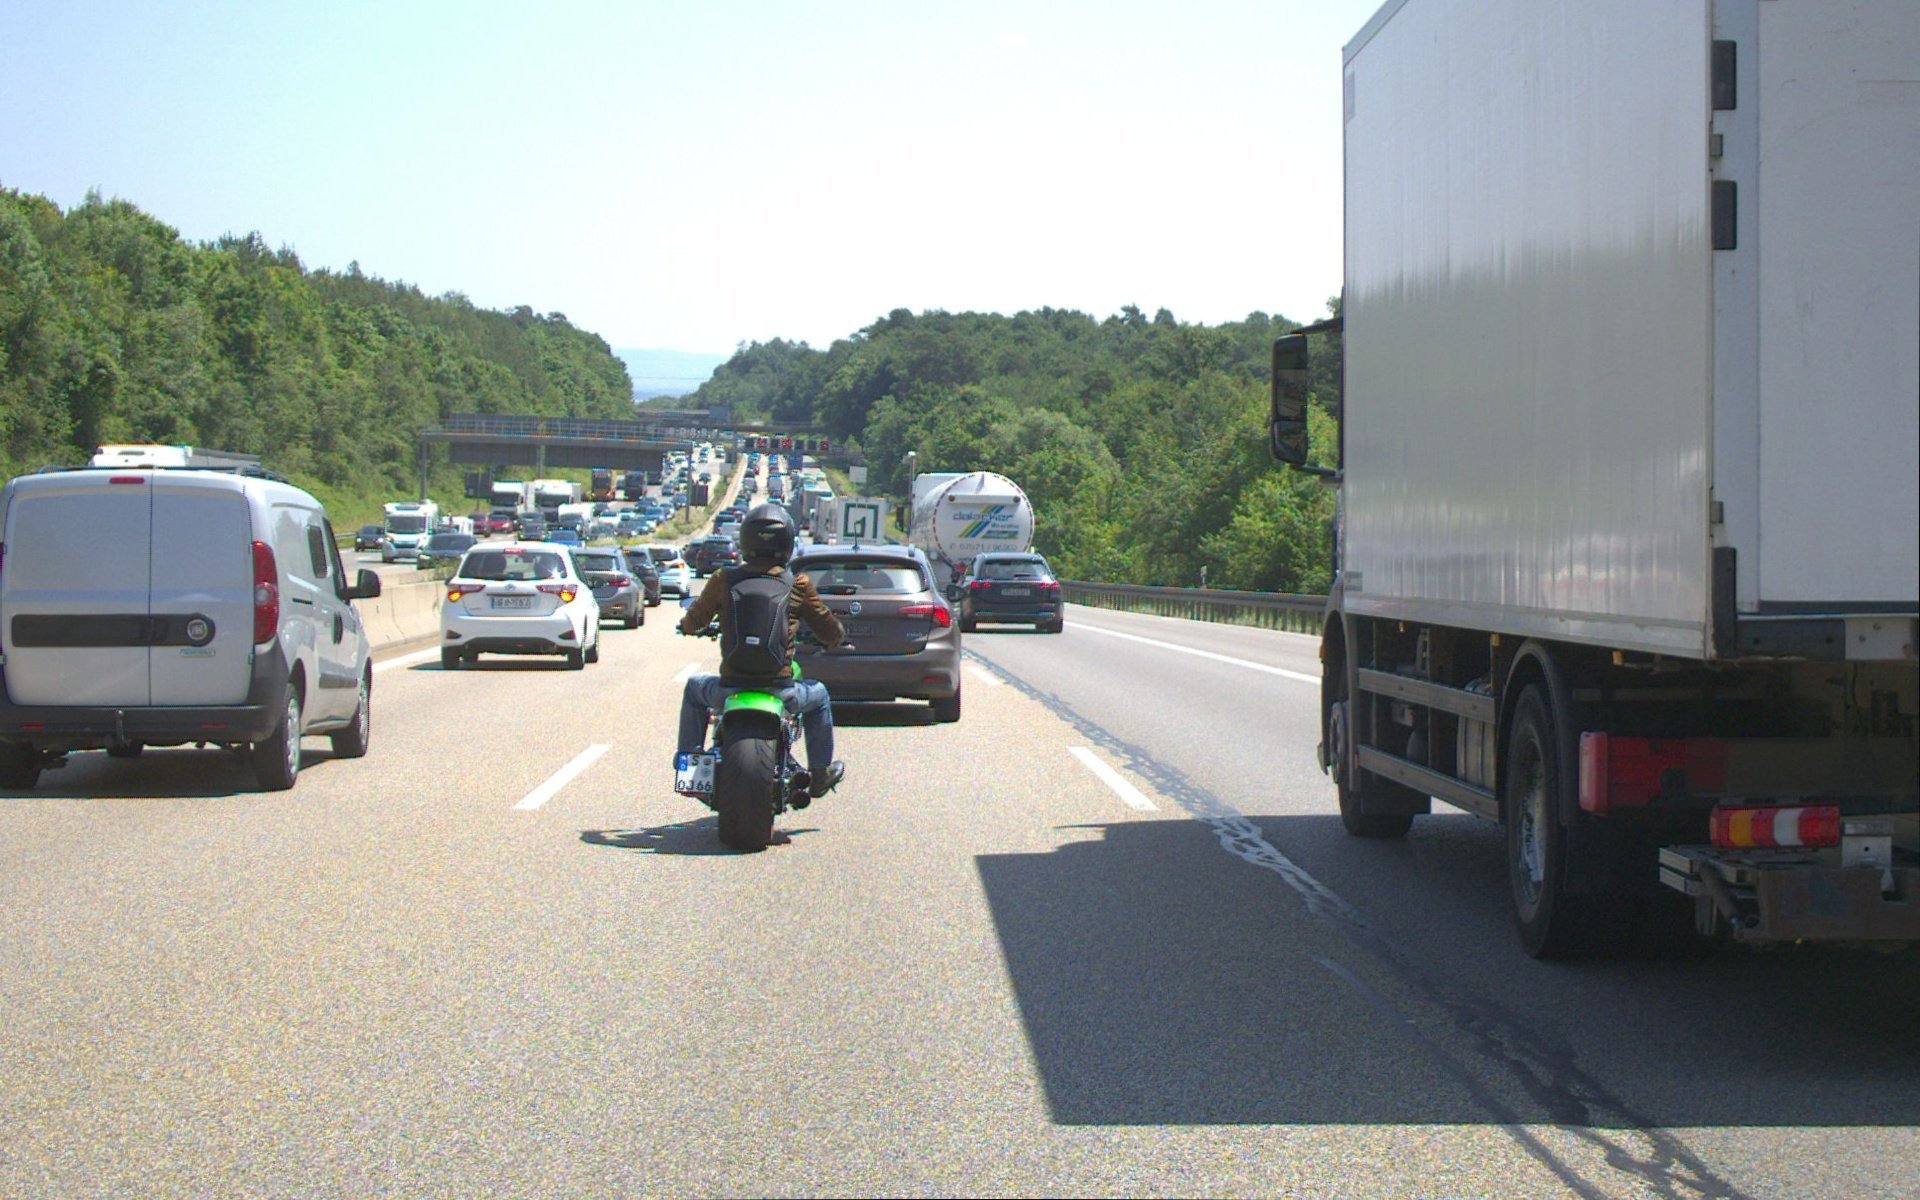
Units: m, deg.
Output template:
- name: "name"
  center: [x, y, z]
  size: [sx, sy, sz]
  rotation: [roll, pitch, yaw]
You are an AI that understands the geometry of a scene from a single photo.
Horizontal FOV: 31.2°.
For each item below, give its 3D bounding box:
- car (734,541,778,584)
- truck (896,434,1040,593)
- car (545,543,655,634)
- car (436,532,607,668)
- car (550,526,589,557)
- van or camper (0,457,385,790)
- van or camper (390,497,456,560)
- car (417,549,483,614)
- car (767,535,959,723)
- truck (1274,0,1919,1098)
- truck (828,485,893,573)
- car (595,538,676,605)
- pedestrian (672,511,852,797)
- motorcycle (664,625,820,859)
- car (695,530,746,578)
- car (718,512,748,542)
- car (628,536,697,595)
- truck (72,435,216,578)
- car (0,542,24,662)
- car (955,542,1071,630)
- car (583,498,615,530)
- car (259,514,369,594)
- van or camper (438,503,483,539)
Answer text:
- name: "car"
  center: [-7.071, -1.303, 119.341]
  size: [1.393, 1.458, 2.779]
  rotation: [0, 1, -1]
- name: "truck"
  center: [0.095, -2.046, 84.100]
  size: [2.987, 3.659, 9.289]
  rotation: [0, 0, -3]
- name: "car"
  center: [-6.410, -0.236, 61.541]
  size: [1.699, 1.473, 4.001]
  rotation: [2, 1, -3]
- name: "car"
  center: [-5.248, -0.038, 41.535]
  size: [1.699, 1.473, 4.001]
  rotation: [2, 1, -3]
- name: "car"
  center: [-19.622, -2.929, 172.859]
  size: [1.710, 1.532, 4.129]
  rotation: [1, 1, -3]
- name: "van or camper"
  center: [-4.784, 0.115, 21.638]
  size: [1.796, 1.886, 4.160]
  rotation: [0, 0, -2]
- name: "van or camper"
  center: [-24.068, -3.174, 154.379]
  size: [2.269, 2.726, 6.807]
  rotation: [0, 0, -3]
- name: "car"
  center: [-16.199, -0.604, 109.304]
  size: [1.763, 2.007, 4.001]
  rotation: [0, 1, -4]
- name: "car"
  center: [-0.821, 0.195, 29.654]
  size: [1.532, 1.504, 4.000]
  rotation: [0, 1, -1]
- name: "truck"
  center: [3.164, -0.680, 14.168]
  size: [2.688, 3.863, 9.781]
  rotation: [0, 1, -1]
- name: "truck"
  center: [-5.515, -3.919, 189.017]
  size: [3.033, 4.526, 9.984]
  rotation: [3, 1, -3]
- name: "car"
  center: [-7.778, -0.705, 82.632]
  size: [1.699, 1.473, 4.001]
  rotation: [2, 1, -3]
- name: "pedestrian"
  center: [-0.959, 0.249, 16.851]
  size: [0.849, 1.357, 0.962]
  rotation: [0, 1, -2]
- name: "motorcycle"
  center: [-1.049, 0.662, 16.892]
  size: [0.691, 1.012, 2.122]
  rotation: [0, 1, -2]
- name: "car"
  center: [-9.795, -1.898, 140.811]
  size: [1.880, 1.853, 4.001]
  rotation: [3, 1, -3]
- name: "car"
  center: [-15.439, -4.945, 233.932]
  size: [1.929, 2.007, 4.000]
  rotation: [0, 0, -2]
- name: "car"
  center: [-8.065, -0.946, 93.447]
  size: [1.699, 1.473, 4.001]
  rotation: [2, 1, -3]
- name: "truck"
  center: [-23.235, -2.606, 98.234]
  size: [2.812, 3.895, 7.316]
  rotation: [0, 0, -4]
- name: "car"
  center: [-12.544, 0.031, 41.418]
  size: [1.616, 1.462, 3.754]
  rotation: [0, 1, -2]
- name: "car"
  center: [0.950, -0.287, 64.097]
  size: [1.828, 1.465, 4.001]
  rotation: [3, 1, -3]
- name: "car"
  center: [-22.683, -5.405, 216.002]
  size: [1.891, 1.941, 4.001]
  rotation: [0, 0, -5]
- name: "car"
  center: [-14.223, -1.030, 75.867]
  size: [1.683, 1.692, 4.659]
  rotation: [0, 1, -2]
- name: "van or camper"
  center: [-27.425, -4.327, 188.792]
  size: [2.076, 1.970, 3.705]
  rotation: [0, 1, -2]
